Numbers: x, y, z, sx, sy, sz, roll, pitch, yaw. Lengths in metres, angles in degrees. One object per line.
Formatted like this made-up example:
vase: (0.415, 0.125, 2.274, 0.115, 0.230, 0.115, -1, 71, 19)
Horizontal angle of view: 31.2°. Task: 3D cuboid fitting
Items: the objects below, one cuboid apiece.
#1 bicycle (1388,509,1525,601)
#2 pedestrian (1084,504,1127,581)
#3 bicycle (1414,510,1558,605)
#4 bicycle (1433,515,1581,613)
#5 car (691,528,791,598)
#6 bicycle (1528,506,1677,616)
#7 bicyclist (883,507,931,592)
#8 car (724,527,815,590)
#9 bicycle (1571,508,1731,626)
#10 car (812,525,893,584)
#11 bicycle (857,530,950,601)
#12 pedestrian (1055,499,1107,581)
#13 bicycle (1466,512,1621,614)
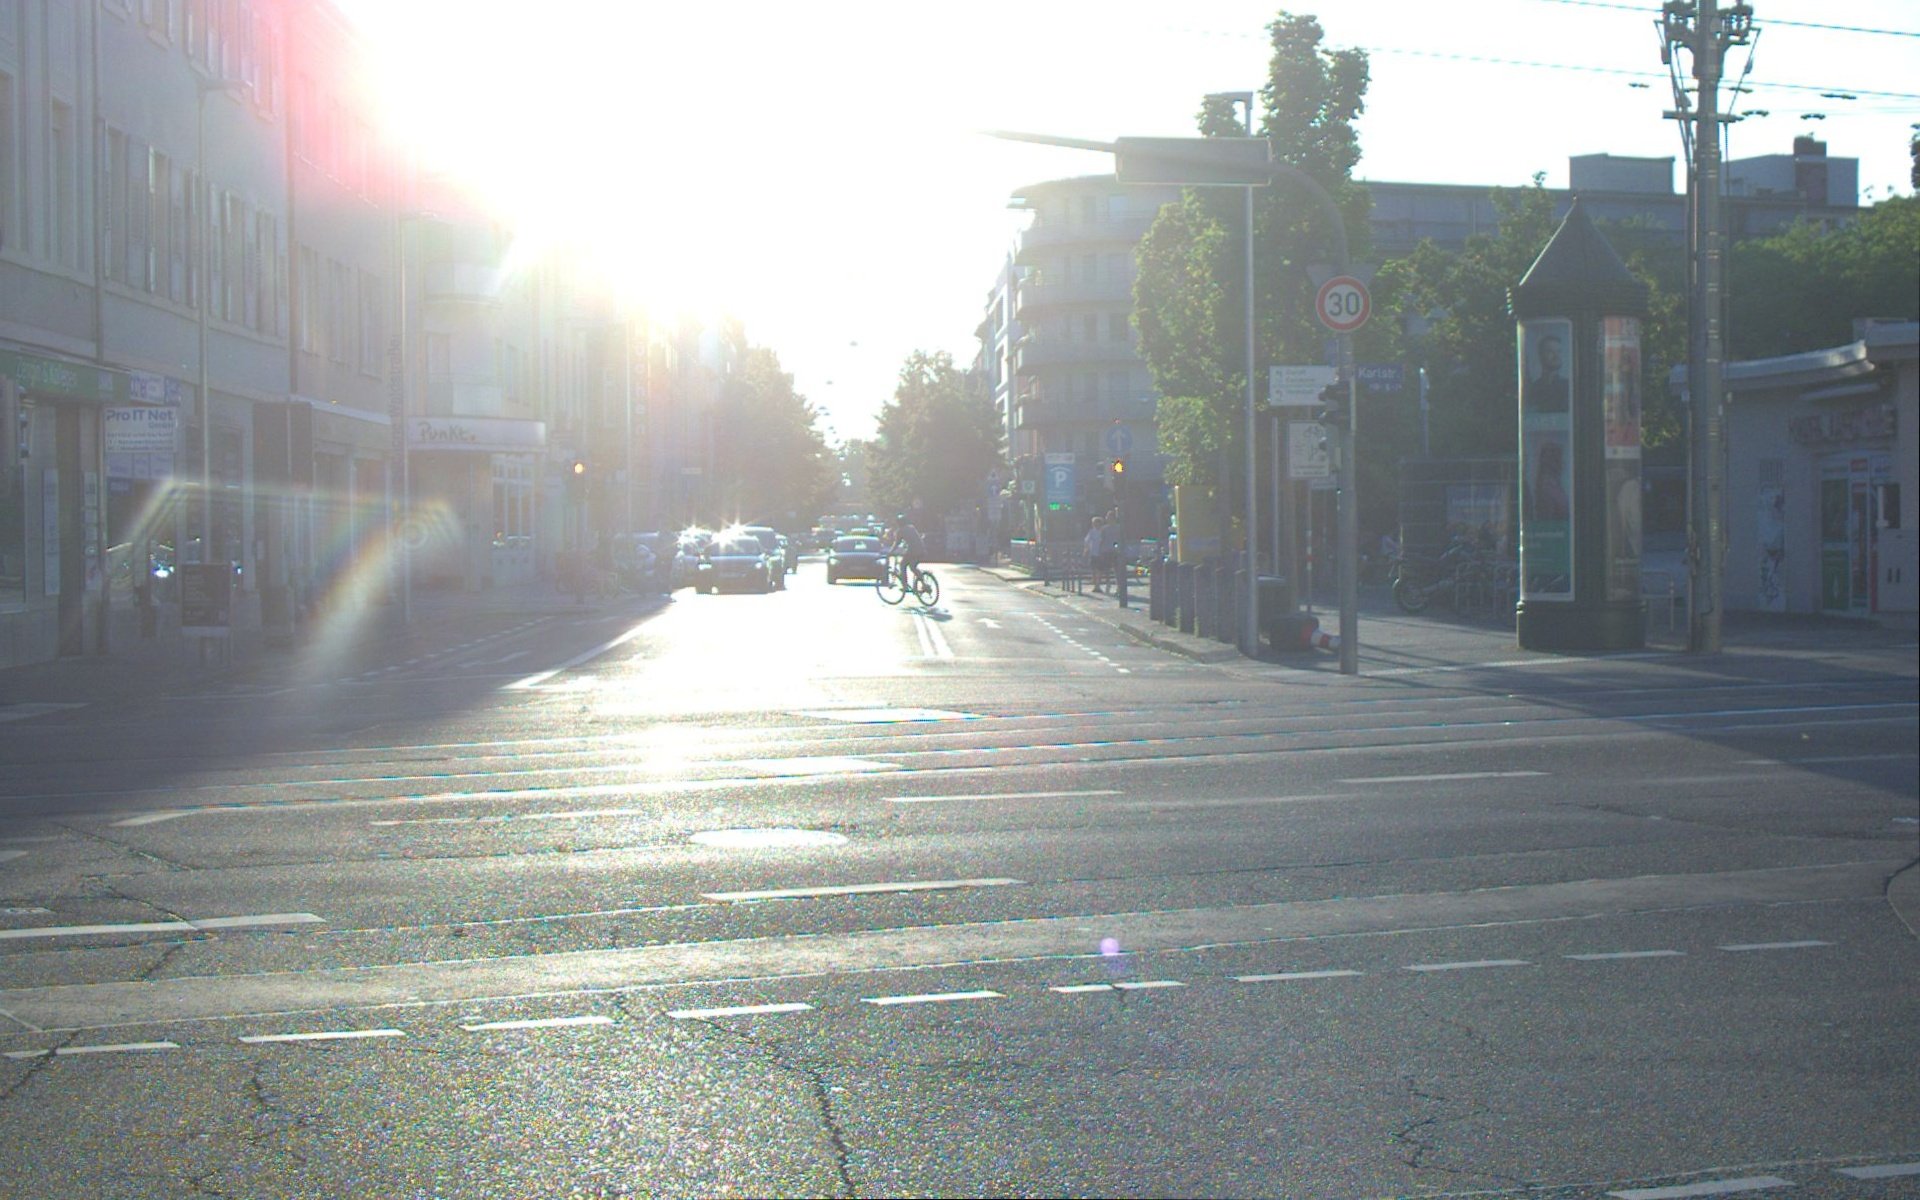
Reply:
bicycle: (8.326, -0.755, 57.724, 2.223, 1.517, 0.681, -1, 1, 4)
pedestrian: (3.436, -1.356, 81.071, 0.804, 1.780, 0.993, -2, 0, 13)
bicycle: (8.556, -0.692, 55.967, 2.222, 1.517, 0.681, -1, 1, 0)
bicycle: (8.679, -0.582, 54.587, 2.222, 1.517, 0.681, -1, 1, 0)
car: (-5.548, -0.967, 87.712, 2.303, 1.672, 5.533, -1, 1, -1)
bicycle: (9.064, -0.556, 48.527, 1.985, 1.517, 0.479, -1, 1, 0)
bicyclist: (-1.065, -1.029, 69.398, 0.679, 1.701, 0.669, -2, 1, -37)
car: (-5.255, -1.182, 95.308, 2.303, 1.672, 5.533, -1, 1, -1)
bicycle: (9.060, -0.437, 45.077, 1.985, 1.517, 0.479, -1, 1, -1)
car: (-3.167, -1.368, 102.151, 2.303, 1.672, 5.533, -1, 1, -1)
bicycle: (-1.158, -0.707, 69.538, 0.679, 1.397, 2.229, -2, 2, -37)
pedestrian: (2.915, -1.446, 82.845, 0.992, 1.950, 0.805, -1, 1, 25)
bicycle: (8.855, -0.566, 52.209, 2.222, 1.517, 0.681, -1, 1, 0)
